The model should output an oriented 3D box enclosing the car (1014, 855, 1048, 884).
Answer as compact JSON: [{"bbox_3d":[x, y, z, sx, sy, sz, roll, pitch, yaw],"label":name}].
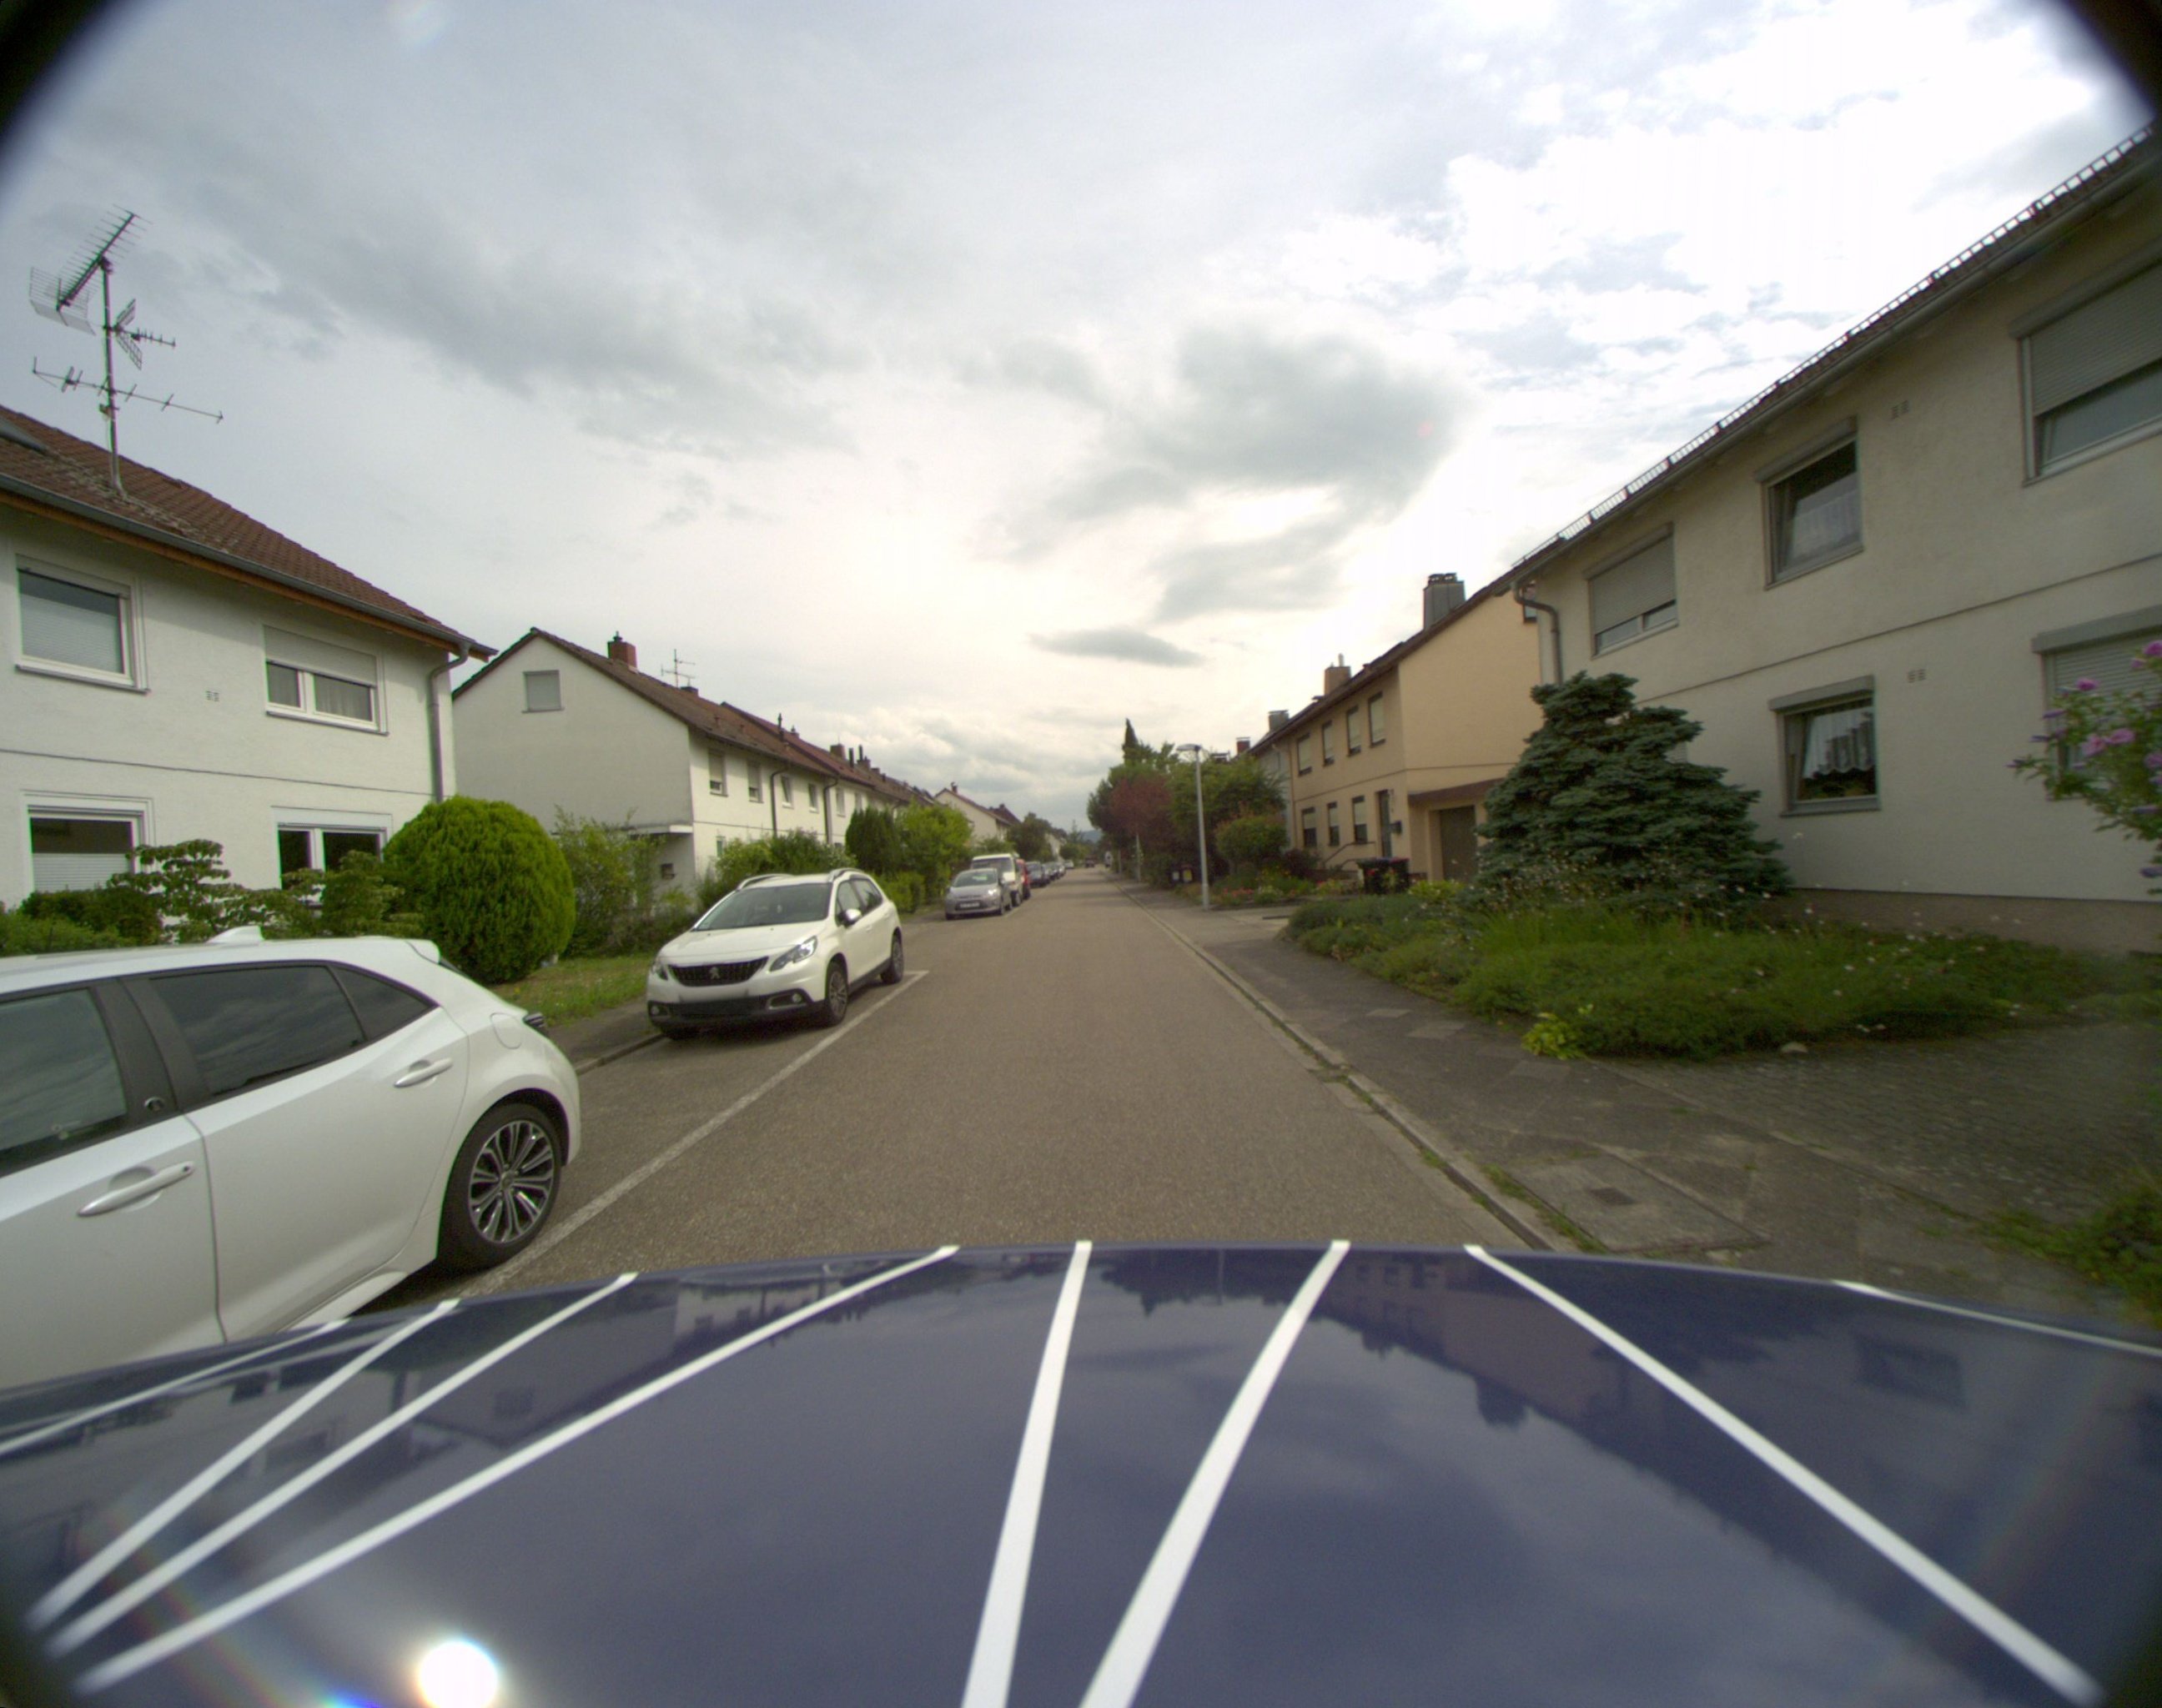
[{"bbox_3d":[-3.114,0.911,48.015,1.872,1.644,4.463,-3,0,-1],"label":"car"}]

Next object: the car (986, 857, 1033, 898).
[{"bbox_3d":[-3.114,0.985,33.844,1.815,1.641,4.409,-3,0,-3],"label":"car"}]

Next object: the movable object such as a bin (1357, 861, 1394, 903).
[{"bbox_3d":[7.391,0.687,19.072,0.654,1.015,0.633,-2,1,0],"label":"movable object such as a bin"}]

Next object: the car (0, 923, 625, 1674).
[{"bbox_3d":[-3.275,1.102,1.640,1.843,1.404,4.636,-3,0,-2],"label":"car"}]

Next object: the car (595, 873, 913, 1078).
[{"bbox_3d":[-3.266,1.103,8.559,1.718,1.534,3.973,-5,0,0],"label":"car"}]

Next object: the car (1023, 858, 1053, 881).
[{"bbox_3d":[-3.028,1.073,54.456,1.872,1.399,4.767,-5,0,-2],"label":"car"}]

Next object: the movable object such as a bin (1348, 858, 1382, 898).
[{"bbox_3d":[7.346,0.626,19.698,0.654,0.997,0.542,-2,1,0],"label":"movable object such as a bin"}]

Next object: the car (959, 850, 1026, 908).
[{"bbox_3d":[-3.246,0.883,28.844,2.026,1.936,4.747,-3,0,-1],"label":"car"}]

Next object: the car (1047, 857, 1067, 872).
[{"bbox_3d":[-2.500,1.127,80.430,1.746,1.462,4.217,-3,0,2],"label":"car"}]

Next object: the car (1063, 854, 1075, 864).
[{"bbox_3d":[-2.090,0.895,133.112,1.999,1.589,3.999,-3,0,-2],"label":"car"}]

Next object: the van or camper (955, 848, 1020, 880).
[{"bbox_3d":[-8.876,0.932,72.620,5.815,2.801,2.536,-3,0,-4],"label":"van or camper"}]

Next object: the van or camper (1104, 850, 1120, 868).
[{"bbox_3d":[5.077,0.790,123.419,2.346,2.719,5.748,-3,0,1],"label":"van or camper"}]

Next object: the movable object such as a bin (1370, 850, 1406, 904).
[{"bbox_3d":[8.019,0.595,19.861,0.654,1.377,0.633,-2,1,0],"label":"movable object such as a bin"}]

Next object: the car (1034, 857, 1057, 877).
[{"bbox_3d":[-2.867,1.031,62.321,1.737,1.419,4.125,-3,0,-2],"label":"car"}]

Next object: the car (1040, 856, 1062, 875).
[{"bbox_3d":[-2.644,1.010,67.977,1.753,1.458,4.647,-3,0,0],"label":"car"}]

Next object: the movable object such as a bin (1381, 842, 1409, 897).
[{"bbox_3d":[7.933,0.386,19.201,0.411,1.377,0.610,-2,1,0],"label":"movable object such as a bin"}]

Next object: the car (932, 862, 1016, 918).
[{"bbox_3d":[-3.230,1.051,23.741,1.905,1.451,4.129,-3,0,1],"label":"car"}]
